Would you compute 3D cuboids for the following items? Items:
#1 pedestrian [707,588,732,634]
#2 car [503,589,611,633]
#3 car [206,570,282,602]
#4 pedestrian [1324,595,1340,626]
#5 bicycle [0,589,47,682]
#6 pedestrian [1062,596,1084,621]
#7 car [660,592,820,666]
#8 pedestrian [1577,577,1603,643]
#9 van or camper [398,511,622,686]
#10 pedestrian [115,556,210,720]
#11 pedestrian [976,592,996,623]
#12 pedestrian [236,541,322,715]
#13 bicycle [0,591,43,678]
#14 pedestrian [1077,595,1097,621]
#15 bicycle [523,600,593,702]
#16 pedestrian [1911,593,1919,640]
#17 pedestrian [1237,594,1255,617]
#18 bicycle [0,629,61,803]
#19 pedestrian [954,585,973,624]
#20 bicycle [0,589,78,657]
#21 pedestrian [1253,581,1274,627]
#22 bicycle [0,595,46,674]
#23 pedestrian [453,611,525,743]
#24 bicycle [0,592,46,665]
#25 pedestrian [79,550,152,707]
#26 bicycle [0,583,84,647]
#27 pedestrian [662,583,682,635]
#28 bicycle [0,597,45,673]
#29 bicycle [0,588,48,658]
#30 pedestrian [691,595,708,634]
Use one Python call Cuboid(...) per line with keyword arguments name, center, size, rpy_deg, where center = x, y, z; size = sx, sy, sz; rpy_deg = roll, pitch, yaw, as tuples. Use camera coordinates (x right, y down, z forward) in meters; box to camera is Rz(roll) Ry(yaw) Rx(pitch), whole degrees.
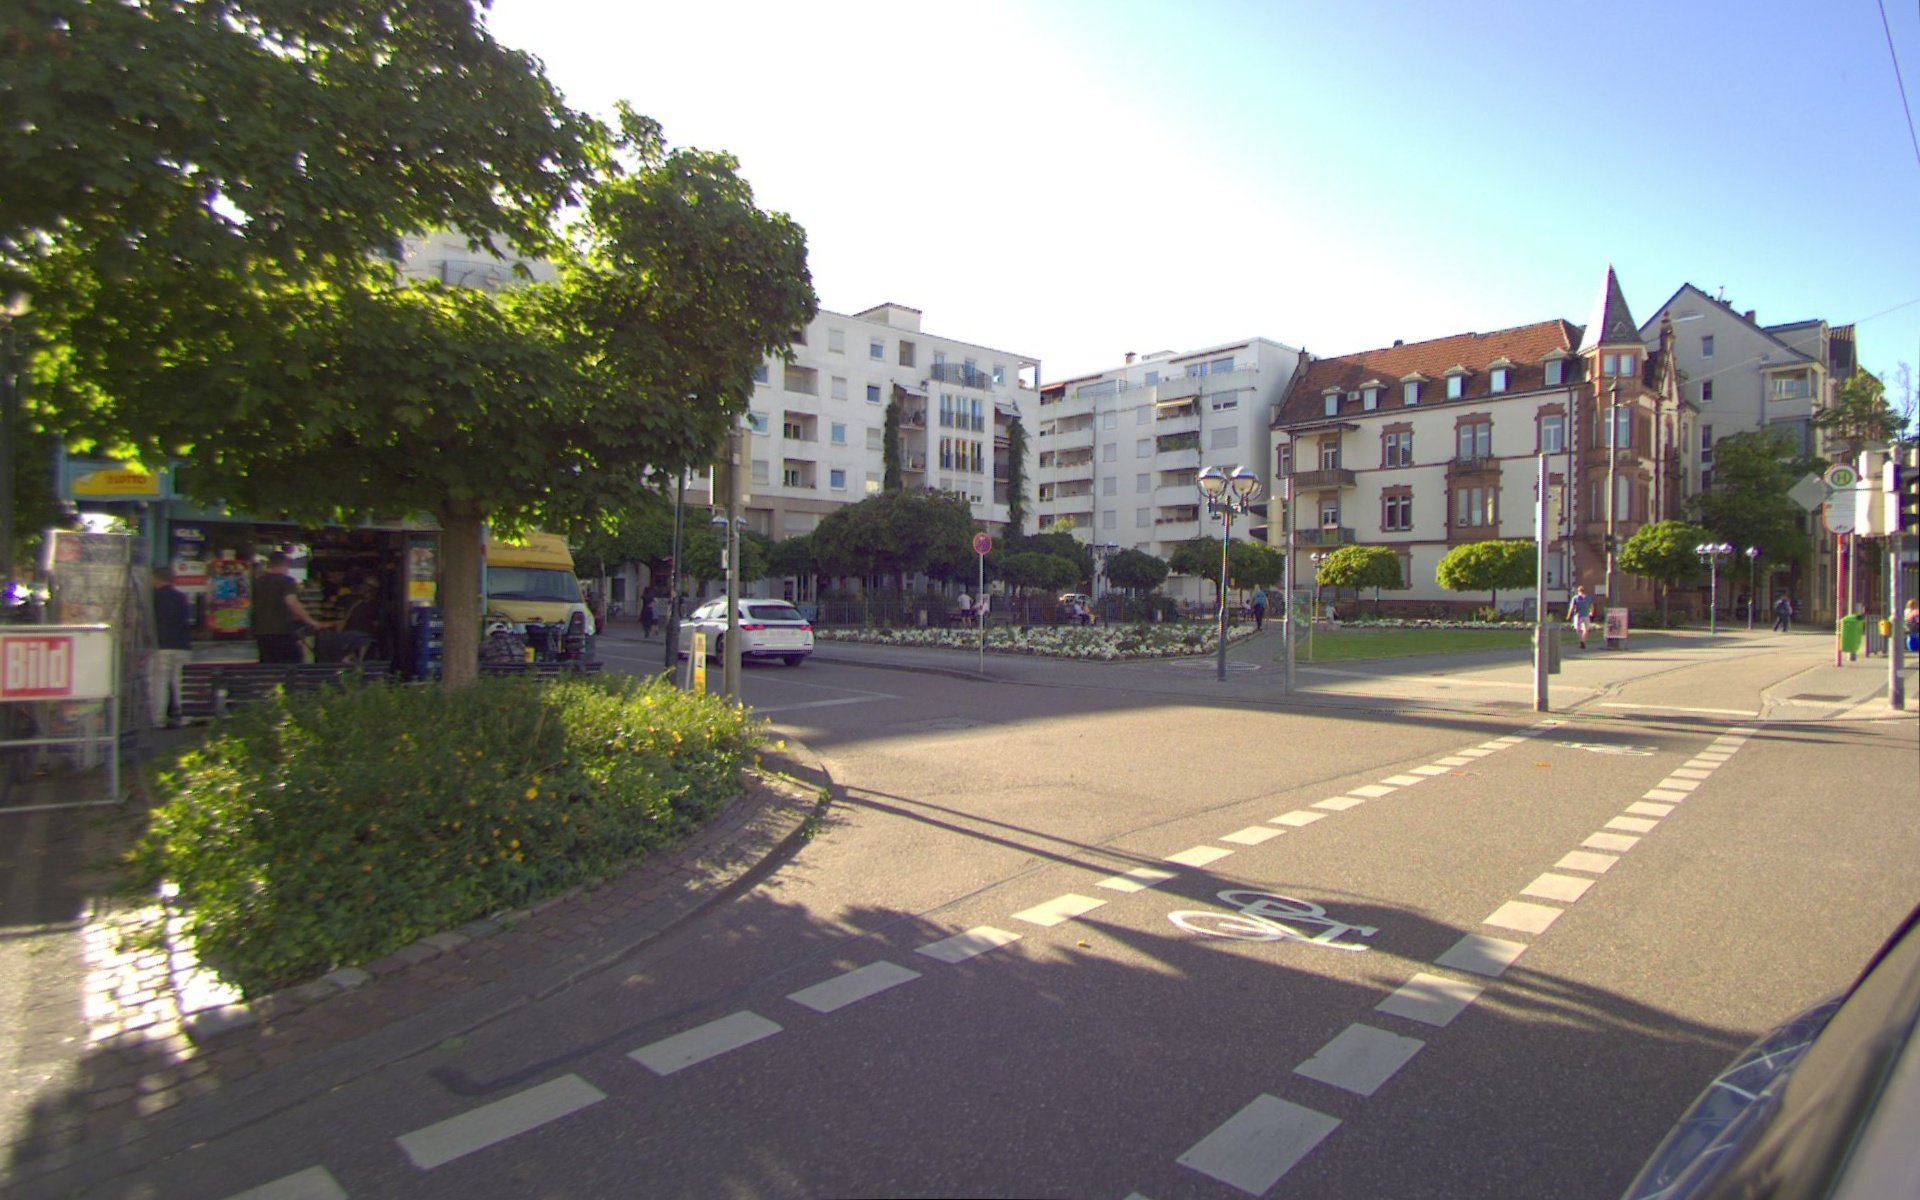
Cuboid(name="pedestrian", center=(-7.690, 0.343, 32.350), size=(0.579, 1.470, 0.604), rpy_deg=(0, 0, -41))
Cuboid(name="car", center=(-14.527, 0.339, 36.428), size=(3.967, 1.481, 1.786), rpy_deg=(1, 1, 36))
Cuboid(name="car", center=(-46.867, -0.886, 66.284), size=(3.930, 2.039, 1.997), rpy_deg=(0, 1, -41))
Cuboid(name="pedestrian", center=(13.292, 0.369, 36.175), size=(0.445, 1.096, 0.449), rpy_deg=(0, 0, 9))
Cuboid(name="bicycle", center=(-13.559, 0.458, 13.488), size=(1.998, 1.233, 0.661), rpy_deg=(3, -1, -41))
Cuboid(name="pedestrian", center=(5.264, 0.382, 47.152), size=(0.765, 1.165, 0.628), rpy_deg=(0, 0, 41))
Cuboid(name="car", center=(-5.101, 0.578, 23.012), size=(1.776, 1.481, 4.549), rpy_deg=(0, 1, -38))
Cuboid(name="pedestrian", center=(19.080, 0.285, 30.656), size=(0.644, 1.980, 0.577), rpy_deg=(0, 0, 32))
Cuboid(name="van or camper", center=(-9.031, -0.071, 19.835), size=(2.180, 2.849, 6.925), rpy_deg=(0, 1, -40))
Cuboid(name="pedestrian", center=(-8.223, 0.368, 10.437), size=(0.731, 1.623, 0.615), rpy_deg=(0, 0, -41))
Cuboid(name="pedestrian", center=(1.108, 0.308, 42.689), size=(0.558, 1.290, 0.691), rpy_deg=(0, 0, 38))
Cuboid(name="pedestrian", center=(-7.273, 0.282, 10.821), size=(0.545, 1.811, 0.539), rpy_deg=(1, 0, 15))
Cuboid(name="bicycle", center=(-14.401, 0.479, 14.351), size=(1.998, 1.233, 0.661), rpy_deg=(3, -1, -41))
Cuboid(name="pedestrian", center=(5.959, 0.375, 47.487), size=(0.714, 1.165, 0.628), rpy_deg=(0, 0, 41))
Cuboid(name="bicycle", center=(-6.208, 0.731, 15.566), size=(0.544, 1.441, 2.074), rpy_deg=(0, 0, -35))
Cuboid(name="pedestrian", center=(25.378, 0.434, 26.412), size=(0.770, 1.219, 0.602), rpy_deg=(0, 0, 41))
Cuboid(name="pedestrian", center=(16.110, 0.302, 56.972), size=(0.668, 1.308, 0.709), rpy_deg=(0, 0, -43))
Cuboid(name="bicycle", center=(-6.441, 0.731, 6.798), size=(0.352, 0.997, 1.669), rpy_deg=(0, 1, -33))
Cuboid(name="pedestrian", center=(0.152, 0.184, 41.745), size=(0.558, 1.563, 0.547), rpy_deg=(0, 0, 38))
Cuboid(name="bicycle", center=(-17.008, 0.397, 17.254), size=(2.970, 1.165, 0.671), rpy_deg=(0, 1, -41))
Cuboid(name="pedestrian", center=(10.737, 0.132, 35.799), size=(0.640, 1.622, 0.699), rpy_deg=(0, 0, 13))
Cuboid(name="bicycle", center=(-14.932, 0.494, 14.992), size=(1.998, 1.165, 0.661), rpy_deg=(3, -1, -41))
Cuboid(name="pedestrian", center=(-4.700, 0.738, 10.090), size=(0.540, 1.228, 0.735), rpy_deg=(0, 0, -34))
Cuboid(name="bicycle", center=(-15.869, 0.452, 16.069), size=(1.998, 1.165, 0.661), rpy_deg=(0, 1, -41))
Cuboid(name="pedestrian", center=(-9.069, 0.291, 10.874), size=(0.581, 1.623, 0.552), rpy_deg=(0, 0, -41))
Cuboid(name="bicycle", center=(-17.774, 0.281, 18.977), size=(1.998, 1.165, 0.661), rpy_deg=(3, -1, -41))
Cuboid(name="pedestrian", center=(-9.062, 0.271, 31.793), size=(0.476, 1.602, 0.408), rpy_deg=(0, 0, -40))
Cuboid(name="bicycle", center=(-15.392, 0.537, 15.523), size=(1.998, 1.165, 0.661), rpy_deg=(0, 1, -41))
Cuboid(name="bicycle", center=(-16.484, 0.386, 16.787), size=(1.998, 1.165, 0.661), rpy_deg=(0, 1, -41))
Cuboid(name="pedestrian", center=(-8.272, 0.467, 32.103), size=(0.414, 1.216, 0.309), rpy_deg=(0, 0, -41))
